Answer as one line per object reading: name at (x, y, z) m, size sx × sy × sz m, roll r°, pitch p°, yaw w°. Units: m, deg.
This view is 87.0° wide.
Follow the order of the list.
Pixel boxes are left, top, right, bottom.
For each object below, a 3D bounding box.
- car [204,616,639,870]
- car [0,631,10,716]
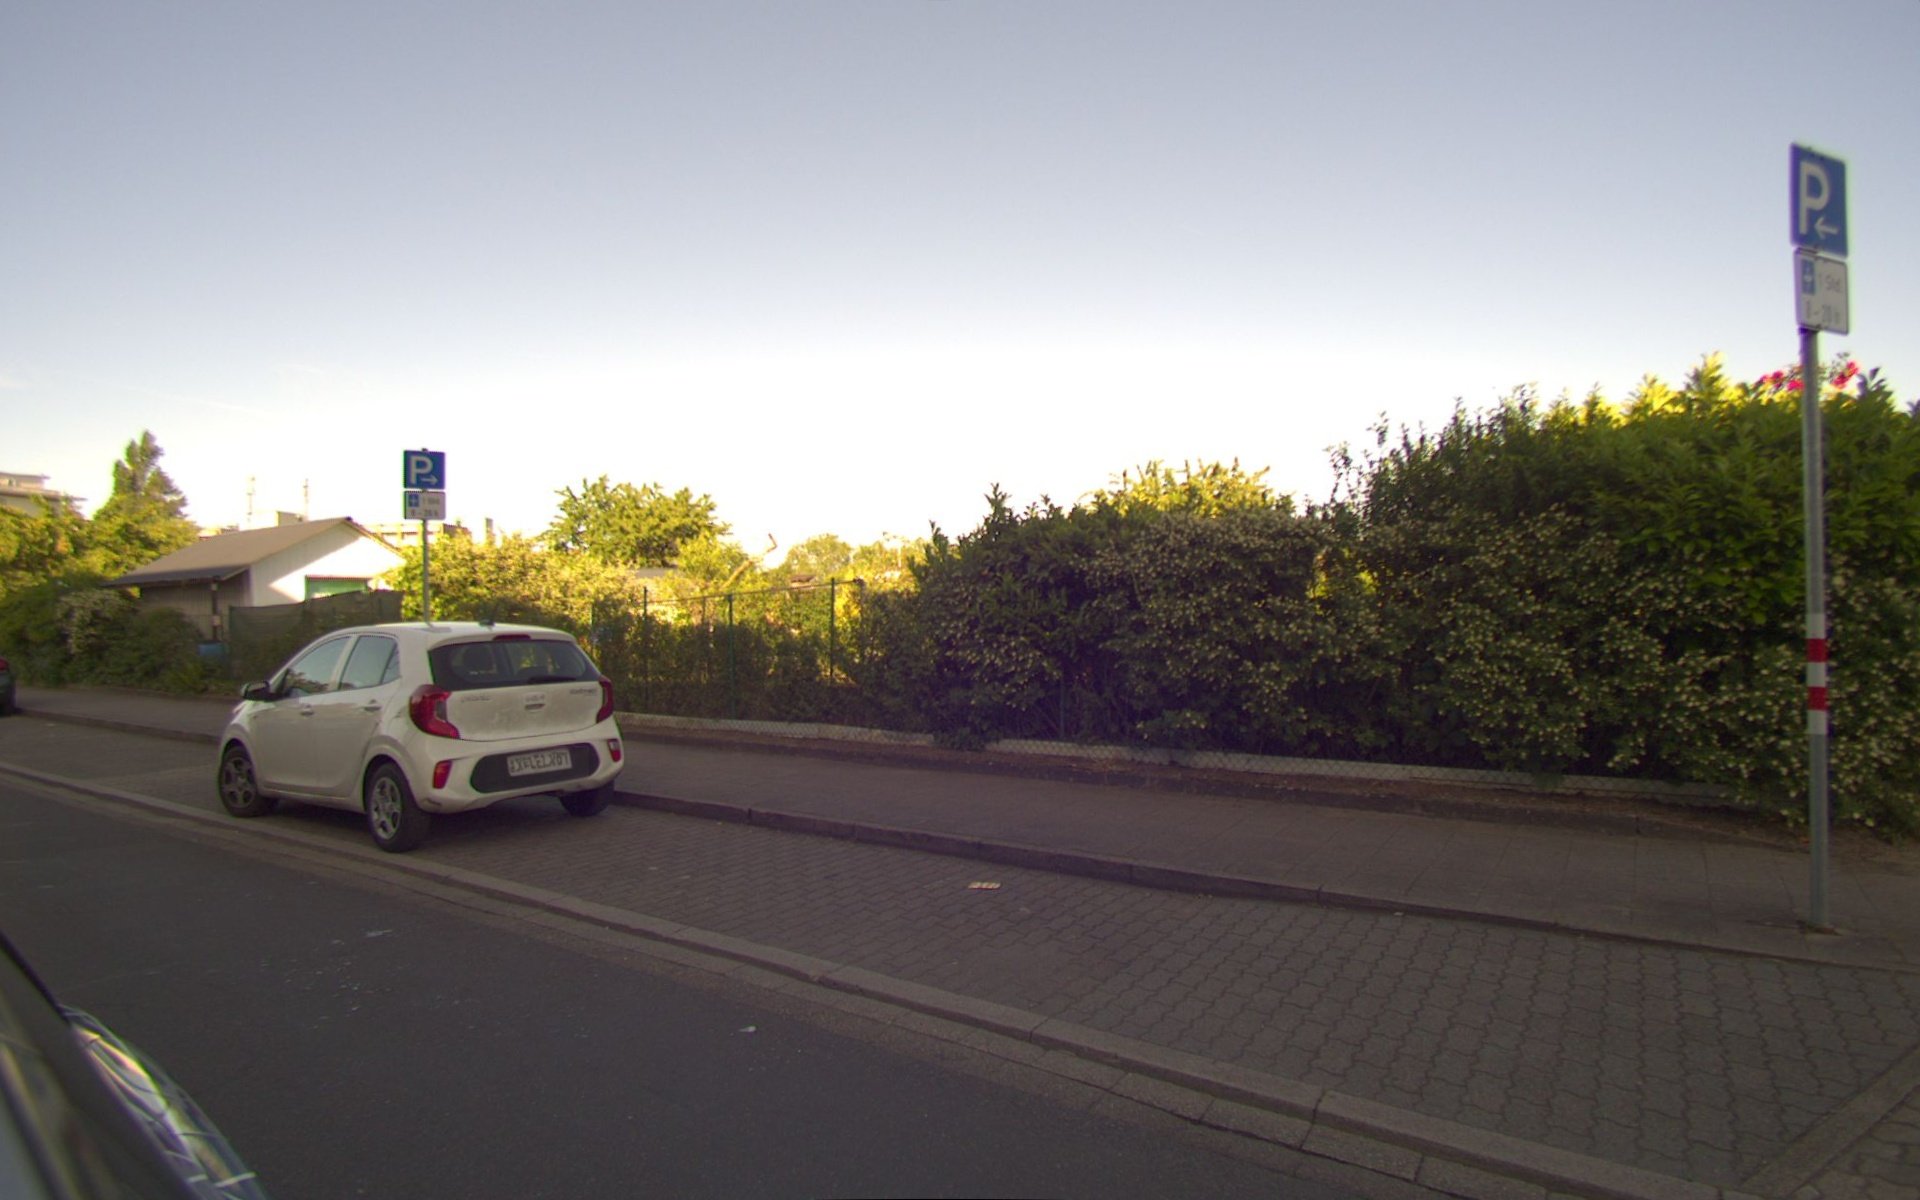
car at (-4.148, 0.910, 7.656) m, size 3.393 × 1.499 × 1.515 m, roll -2°, pitch -1°, yaw 35°
car at (-18.562, 1.336, 17.848) m, size 4.505 × 1.434 × 1.682 m, roll -2°, pitch 1°, yaw 35°
